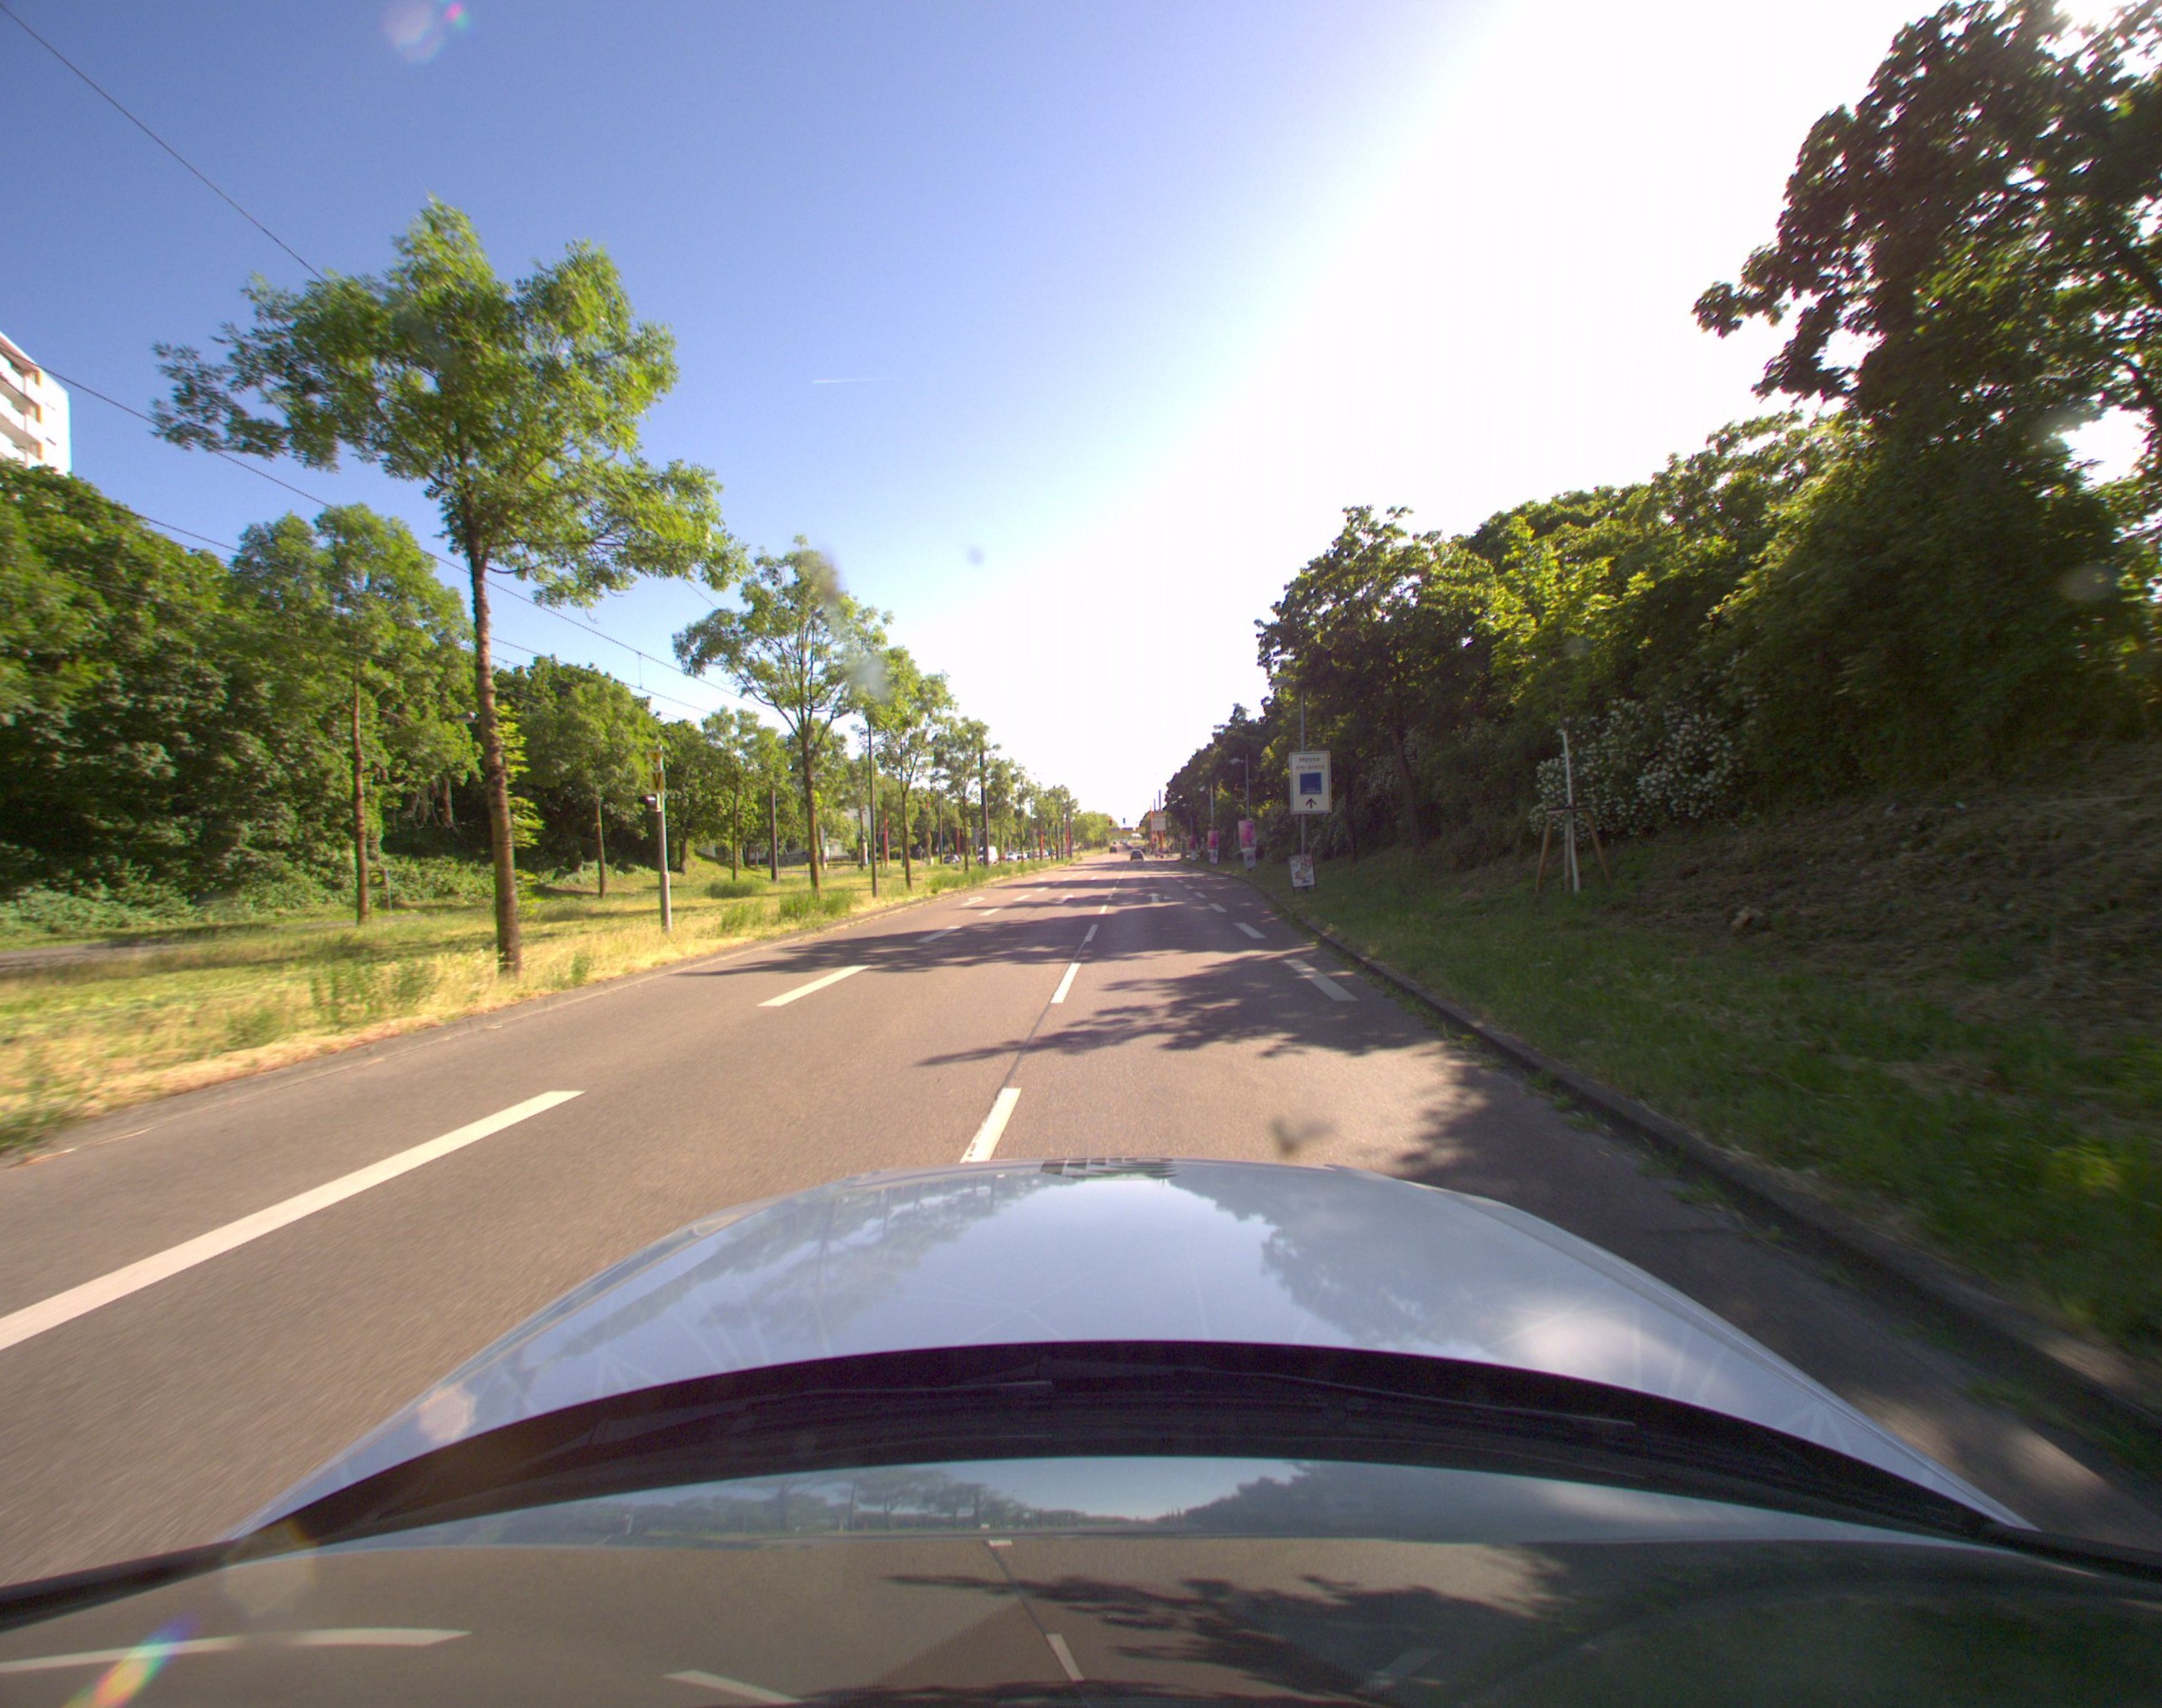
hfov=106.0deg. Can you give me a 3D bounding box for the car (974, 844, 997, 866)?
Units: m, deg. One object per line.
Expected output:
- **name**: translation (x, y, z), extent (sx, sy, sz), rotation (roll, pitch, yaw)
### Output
- **car**: translation (-14.422, 0.173, 123.155), extent (2.456, 3.239, 6.136), rotation (-1, 0, 1)

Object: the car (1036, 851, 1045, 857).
- **car**: translation (-9.675, 0.005, 193.942), extent (1.625, 1.445, 4.193), rotation (-1, 0, 2)

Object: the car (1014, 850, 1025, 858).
- **car**: translation (-12.156, 0.047, 161.327), extent (1.625, 1.445, 4.193), rotation (-1, 0, 2)

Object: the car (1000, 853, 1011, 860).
- **car**: translation (-14.883, 0.473, 160.397), extent (1.625, 1.288, 4.100), rotation (-1, 0, 2)

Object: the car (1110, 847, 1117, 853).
- **car**: translation (8.281, -0.956, 207.610), extent (1.627, 1.498, 4.239), rotation (-1, 0, 4)

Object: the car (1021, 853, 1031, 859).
- **car**: translation (-11.523, 0.438, 171.746), extent (1.625, 1.111, 4.193), rotation (-1, 0, 2)

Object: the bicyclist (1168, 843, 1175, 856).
- **bicyclist**: translation (13.767, -0.692, 123.536), extent (1.004, 2.007, 0.813), rotation (-1, 0, 3)

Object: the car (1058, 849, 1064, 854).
- **car**: translation (-6.096, -0.767, 250.199), extent (1.625, 1.445, 4.193), rotation (-1, 0, 2)

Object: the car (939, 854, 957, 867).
- **car**: translation (-18.456, 0.859, 113.227), extent (1.625, 1.680, 4.193), rotation (-1, 0, 2)

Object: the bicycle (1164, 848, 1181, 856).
- **bicycle**: translation (13.879, -0.251, 123.537), extent (2.404, 1.109, 0.813), rotation (-1, 0, 3)

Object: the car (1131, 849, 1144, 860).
- **car**: translation (7.717, 0.069, 110.816), extent (1.627, 1.498, 4.239), rotation (-1, 0, 4)

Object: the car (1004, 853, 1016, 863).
- **car**: translation (-13.094, 0.706, 151.012), extent (1.625, 1.680, 4.193), rotation (-1, 0, 2)
